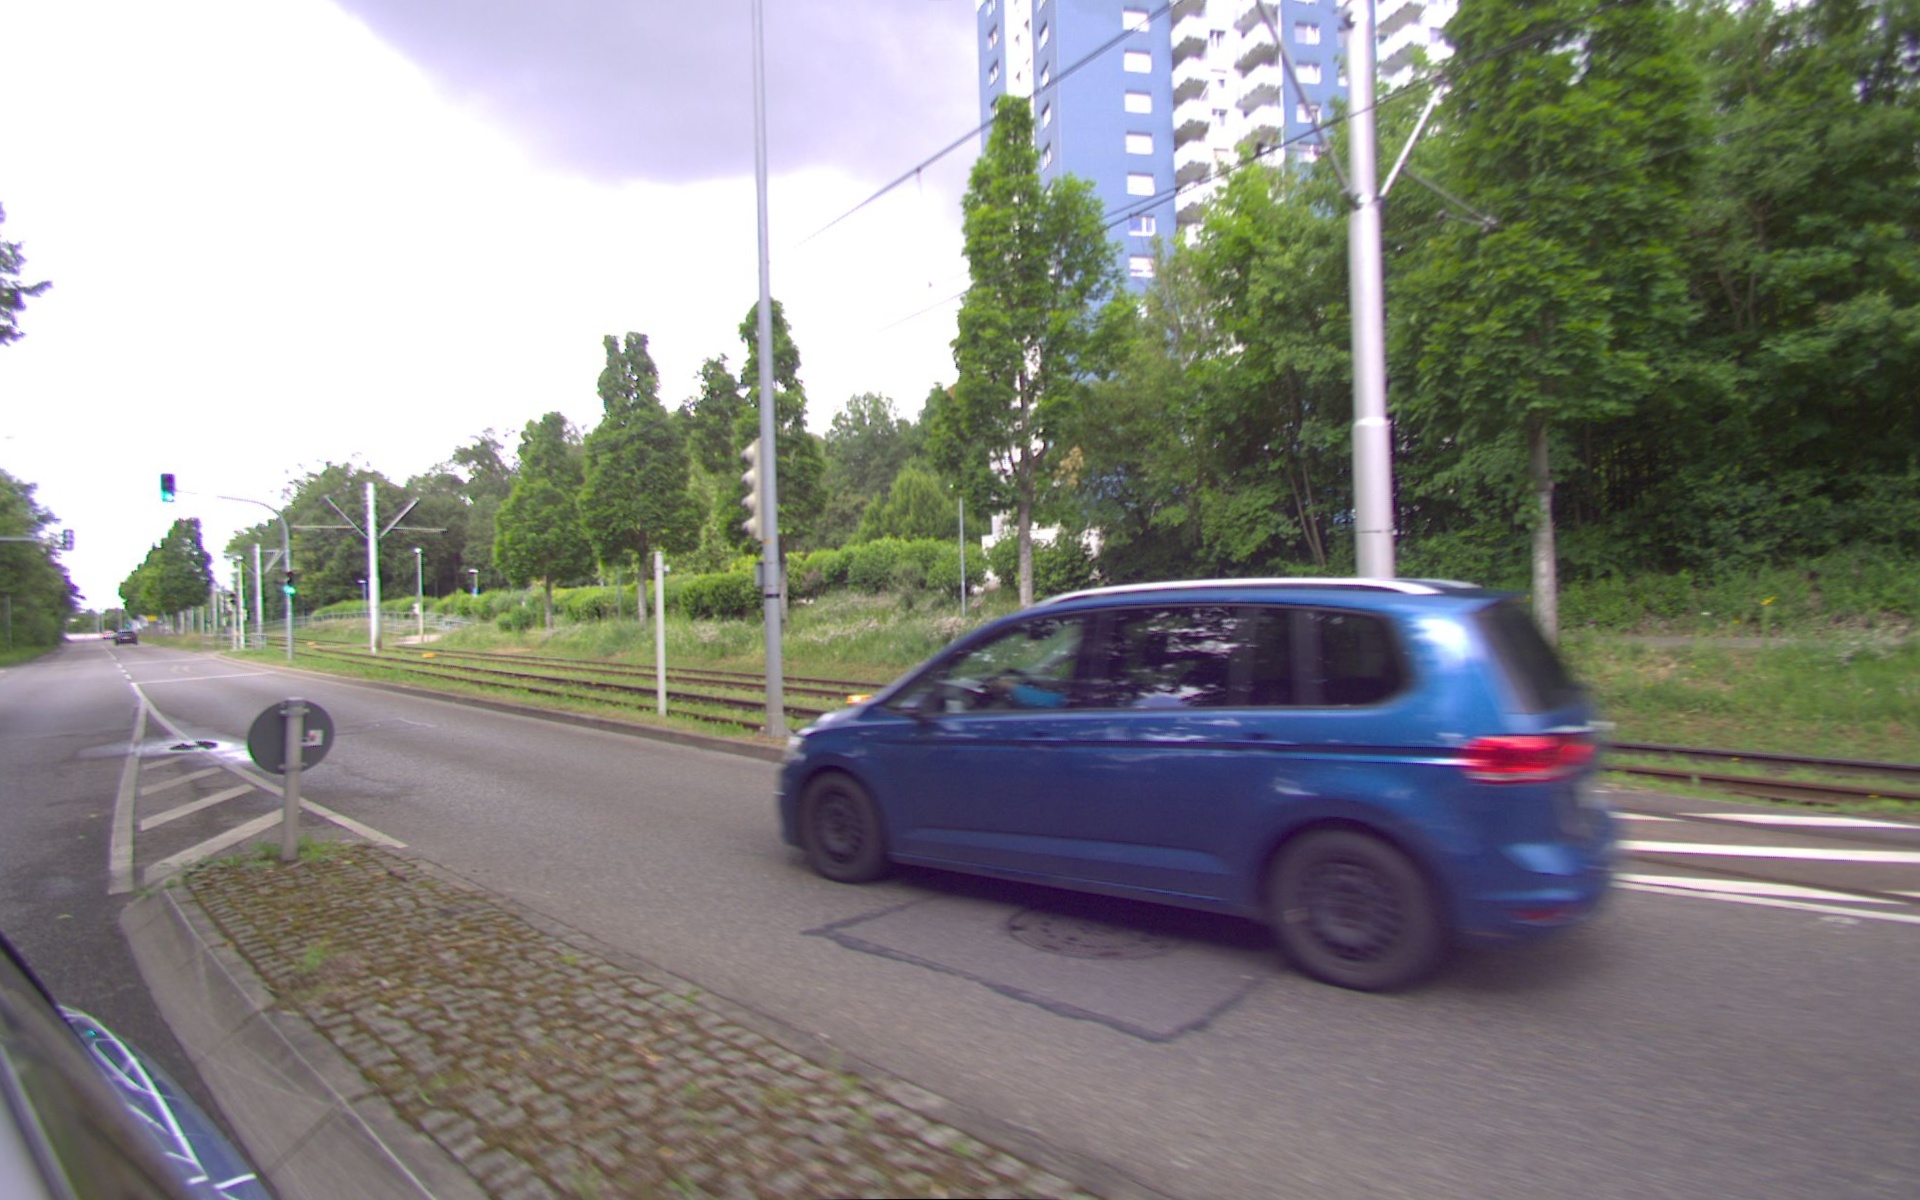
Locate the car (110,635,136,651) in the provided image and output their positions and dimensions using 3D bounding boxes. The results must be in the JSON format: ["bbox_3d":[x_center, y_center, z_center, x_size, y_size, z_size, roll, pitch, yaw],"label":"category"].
[{"bbox_3d":[-83.101,4.261,100.481,1.827,1.481,4.262,-2,-1,-41],"label":"car"}]

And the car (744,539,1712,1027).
[{"bbox_3d":[1.091,0.645,5.146,4.228,1.532,1.852,-3,-1,34],"label":"car"}]
